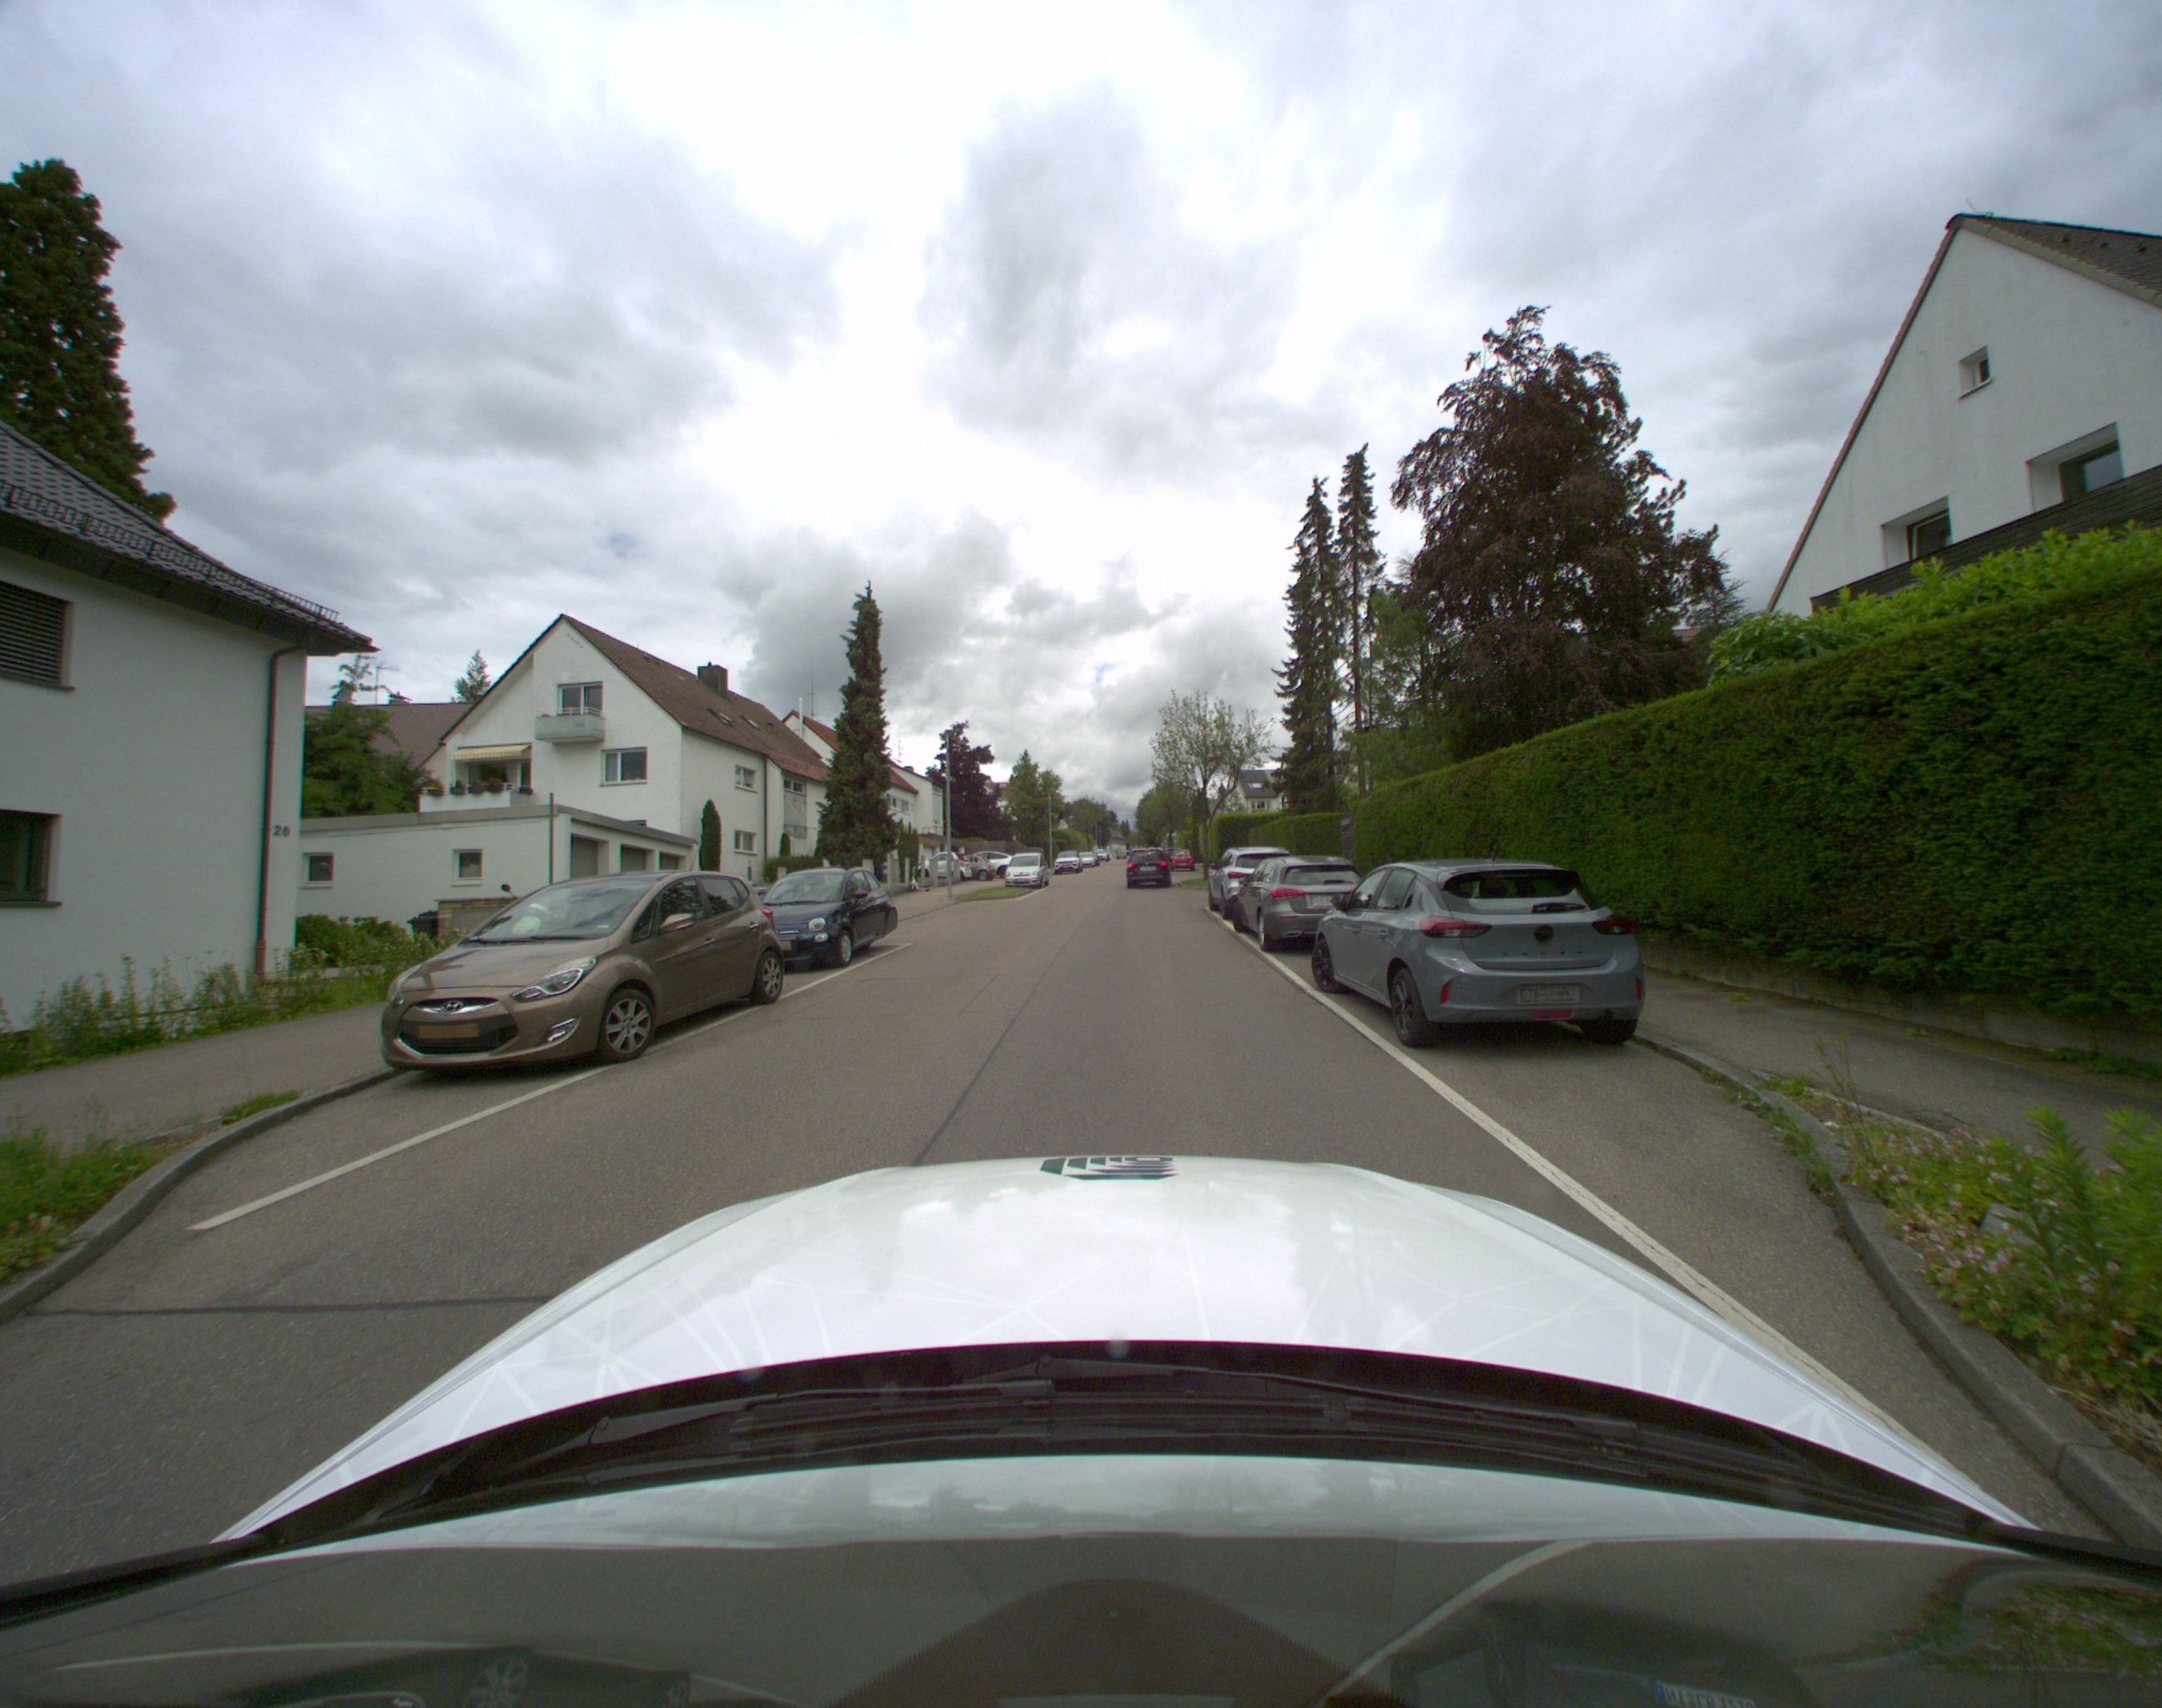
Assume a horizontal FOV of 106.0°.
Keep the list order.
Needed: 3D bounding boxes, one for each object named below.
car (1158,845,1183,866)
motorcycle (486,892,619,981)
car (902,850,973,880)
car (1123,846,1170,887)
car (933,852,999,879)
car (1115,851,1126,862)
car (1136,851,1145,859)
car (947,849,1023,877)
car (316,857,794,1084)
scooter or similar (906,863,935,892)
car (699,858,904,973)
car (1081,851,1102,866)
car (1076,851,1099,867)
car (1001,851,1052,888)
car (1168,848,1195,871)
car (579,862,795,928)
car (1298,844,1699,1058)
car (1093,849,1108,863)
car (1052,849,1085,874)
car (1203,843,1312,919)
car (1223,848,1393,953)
[{"bbox_3d":[7.271,0.116,66.405,1.984,1.618,4.519,0,0,5],"label":"car"},{"bbox_3d":[-7.822,1.182,12.154,0.426,1.161,1.869,-3,-1,12],"label":"motorcycle"},{"bbox_3d":[-7.708,0.607,43.882,3.412,1.578,1.659,0,-1,5],"label":"car"},{"bbox_3d":[2.820,0.500,34.713,1.839,1.611,4.317,-2,0,5],"label":"car"},{"bbox_3d":[-6.590,0.675,46.938,3.412,1.512,1.695,0,-1,5],"label":"car"},{"bbox_3d":[7.250,0.448,148.493,1.877,1.851,4.406,-3,0,4],"label":"car"},{"bbox_3d":[13.482,0.296,184.367,1.659,1.668,3.467,-2,0,0],"label":"car"},{"bbox_3d":[-5.955,0.540,50.743,4.393,1.629,1.912,1,0,3],"label":"car"},{"bbox_3d":[-4.563,0.873,7.916,1.869,1.585,3.877,-2,0,4],"label":"car"},{"bbox_3d":[-6.498,0.937,33.102,0.470,1.148,1.462,0,0,20],"label":"scooter or similar"},{"bbox_3d":[-4.364,0.889,13.328,1.869,1.536,3.512,-2,0,4],"label":"car"},{"bbox_3d":[1.089,0.478,83.002,1.719,1.423,4.084,-3,0,5],"label":"car"},{"bbox_3d":[0.668,0.453,78.035,1.829,1.422,4.413,-3,0,4],"label":"car"},{"bbox_3d":[-2.448,0.682,37.711,1.753,1.563,3.860,-3,0,4],"label":"car"},{"bbox_3d":[6.941,0.375,56.714,1.653,1.508,3.763,-2,0,4],"label":"car"},{"bbox_3d":[-9.493,0.966,19.908,4.274,1.367,1.903,-2,0,-2],"label":"car"},{"bbox_3d":[3.430,0.683,7.668,1.848,1.464,4.002,-1,0,2],"label":"car"},{"bbox_3d":[2.444,0.241,102.518,1.716,1.540,4.002,-3,0,2],"label":"car"},{"bbox_3d":[-0.861,0.496,59.604,1.828,1.666,4.415,-3,0,5],"label":"car"},{"bbox_3d":[4.067,0.578,19.425,1.847,1.582,4.174,-1,0,2],"label":"car"},{"bbox_3d":[3.615,0.674,13.766,1.847,1.464,4.174,-1,0,2],"label":"car"}]
